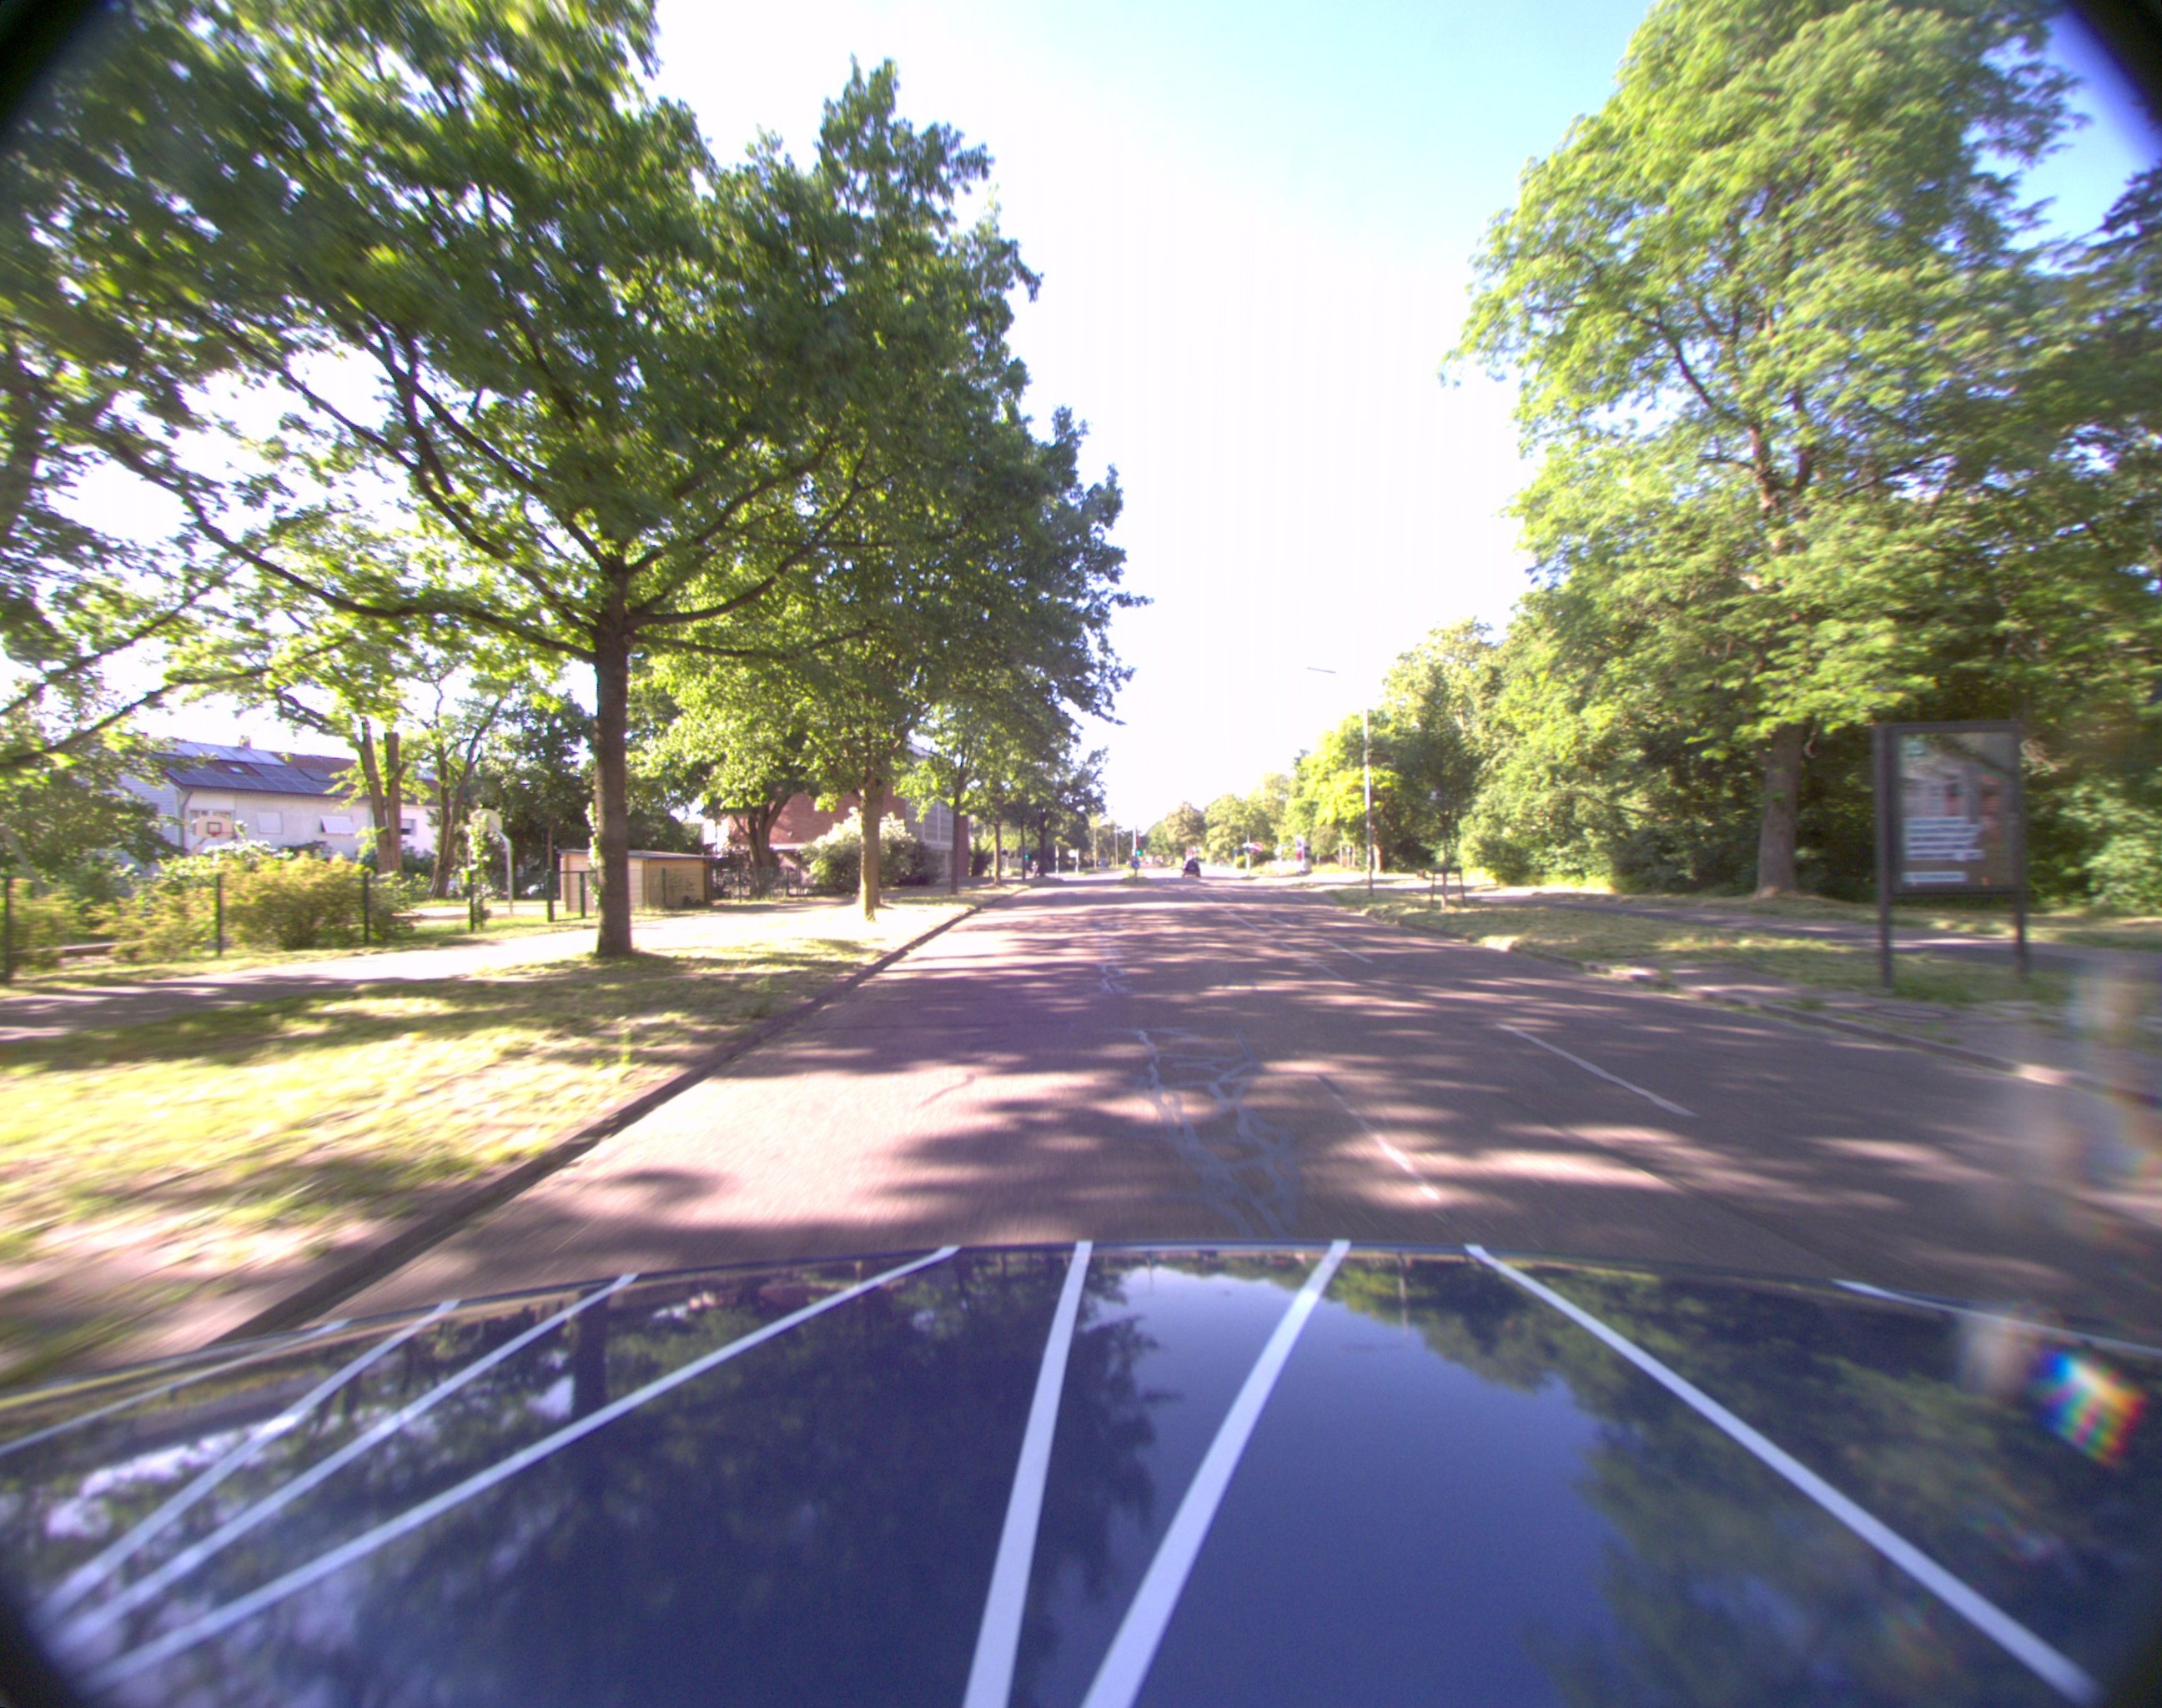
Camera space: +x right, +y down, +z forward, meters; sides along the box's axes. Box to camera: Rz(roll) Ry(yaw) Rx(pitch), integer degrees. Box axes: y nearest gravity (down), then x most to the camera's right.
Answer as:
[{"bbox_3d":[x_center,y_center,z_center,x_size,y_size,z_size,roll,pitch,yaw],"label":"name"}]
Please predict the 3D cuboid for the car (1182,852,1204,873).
[{"bbox_3d":[11.591,0.886,78.608,1.904,2.082,3.642,1,0,3],"label":"car"}]
